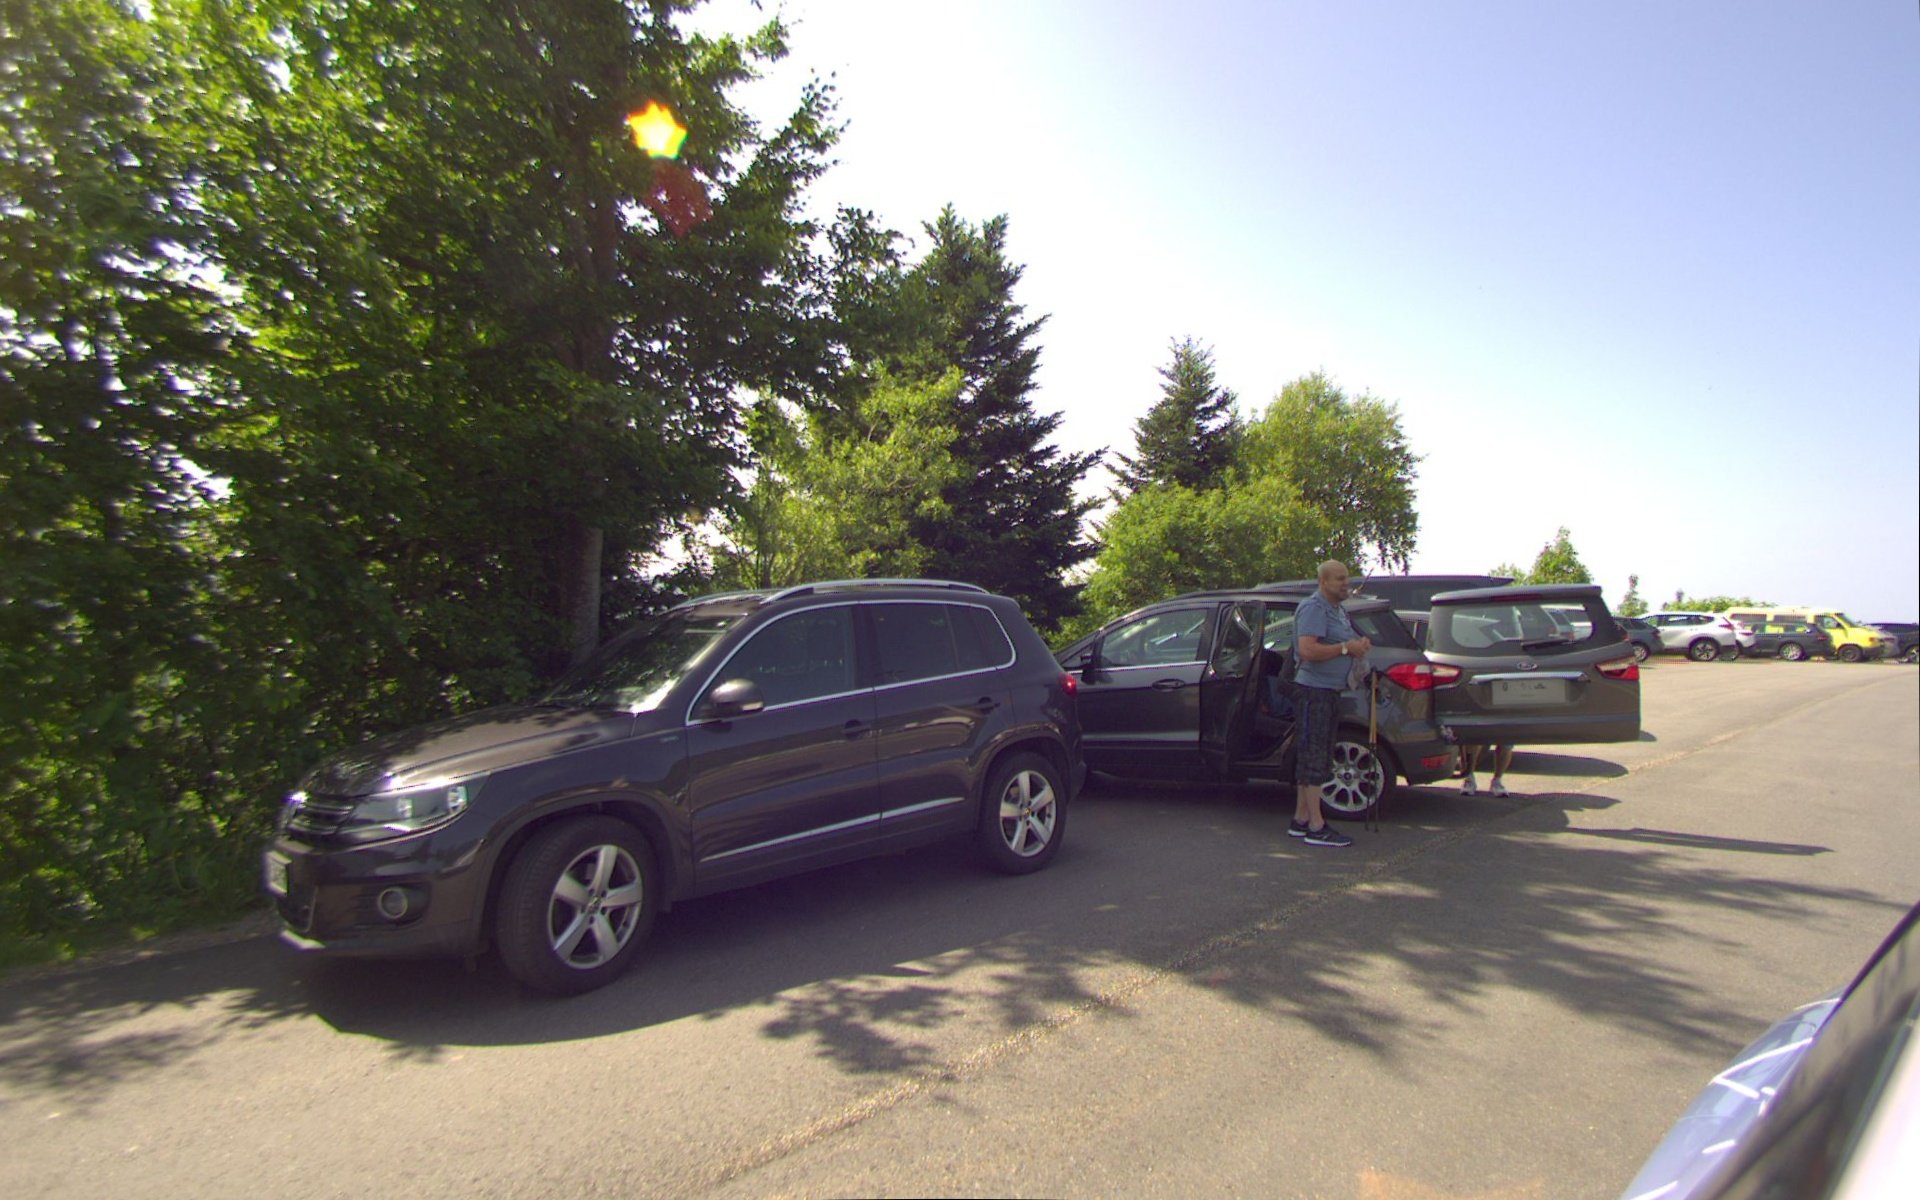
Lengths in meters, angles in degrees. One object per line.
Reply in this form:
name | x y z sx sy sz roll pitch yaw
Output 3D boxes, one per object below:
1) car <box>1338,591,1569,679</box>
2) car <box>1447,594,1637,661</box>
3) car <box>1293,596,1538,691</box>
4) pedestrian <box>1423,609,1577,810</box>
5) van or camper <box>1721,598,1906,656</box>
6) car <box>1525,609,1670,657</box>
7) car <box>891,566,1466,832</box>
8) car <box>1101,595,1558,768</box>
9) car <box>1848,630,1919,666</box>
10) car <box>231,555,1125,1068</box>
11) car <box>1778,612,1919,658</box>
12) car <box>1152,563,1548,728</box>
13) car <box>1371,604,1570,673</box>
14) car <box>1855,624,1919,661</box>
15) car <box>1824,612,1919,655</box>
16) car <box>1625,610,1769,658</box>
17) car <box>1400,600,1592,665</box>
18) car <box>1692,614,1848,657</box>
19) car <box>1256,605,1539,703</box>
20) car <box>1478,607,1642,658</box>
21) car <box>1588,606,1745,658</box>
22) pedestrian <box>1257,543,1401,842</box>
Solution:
car | 10.319 0.704 21.519 4.224 1.716 1.975 0 -1 23
car | 16.057 0.748 28.126 4.160 1.716 1.857 1 -1 12
car | 8.281 0.758 18.807 3.949 1.610 1.851 0 -1 20
pedestrian | 4.196 0.817 7.882 0.656 1.420 0.776 3 1 -35
van or camper | 32.551 1.030 38.760 1.847 2.040 5.103 3 -3 -37
car | 20.486 1.043 32.706 3.768 1.478 1.647 0 -2 27
car | 1.673 0.721 8.075 3.951 1.683 1.986 -3 -2 21
car | 3.562 0.713 10.178 3.954 1.461 1.825 0 -1 23
car | 44.377 2.264 47.199 4.395 1.588 1.878 1 -2 43
car | -1.164 0.705 5.370 4.236 1.653 1.745 0 -2 -43
car | 35.301 1.360 40.128 1.673 1.609 4.161 3 -1 -38
car | 5.174 0.549 13.681 4.732 1.904 1.945 0 -1 30
car | 11.703 0.843 23.512 3.954 1.495 1.754 0 0 23
car | 41.922 1.910 44.299 3.981 1.529 1.815 2 -1 40
car | 37.890 1.381 41.236 3.987 1.634 1.886 1 -1 44
car | 26.259 1.167 36.188 4.076 1.519 1.918 1 0 37
car | 13.441 0.794 25.630 3.944 1.569 1.811 0 -1 16
car | 29.788 1.295 37.320 4.350 1.507 1.783 -1 -3 44
car | 6.806 0.809 16.211 3.945 1.433 1.735 0 -1 17
car | 18.240 0.956 30.998 4.001 1.480 1.882 0 -1 21
car | 23.891 1.043 34.409 4.148 1.671 1.872 0 -1 29
pedestrian | 2.307 0.555 6.383 0.620 1.783 0.581 -1 -1 -6
